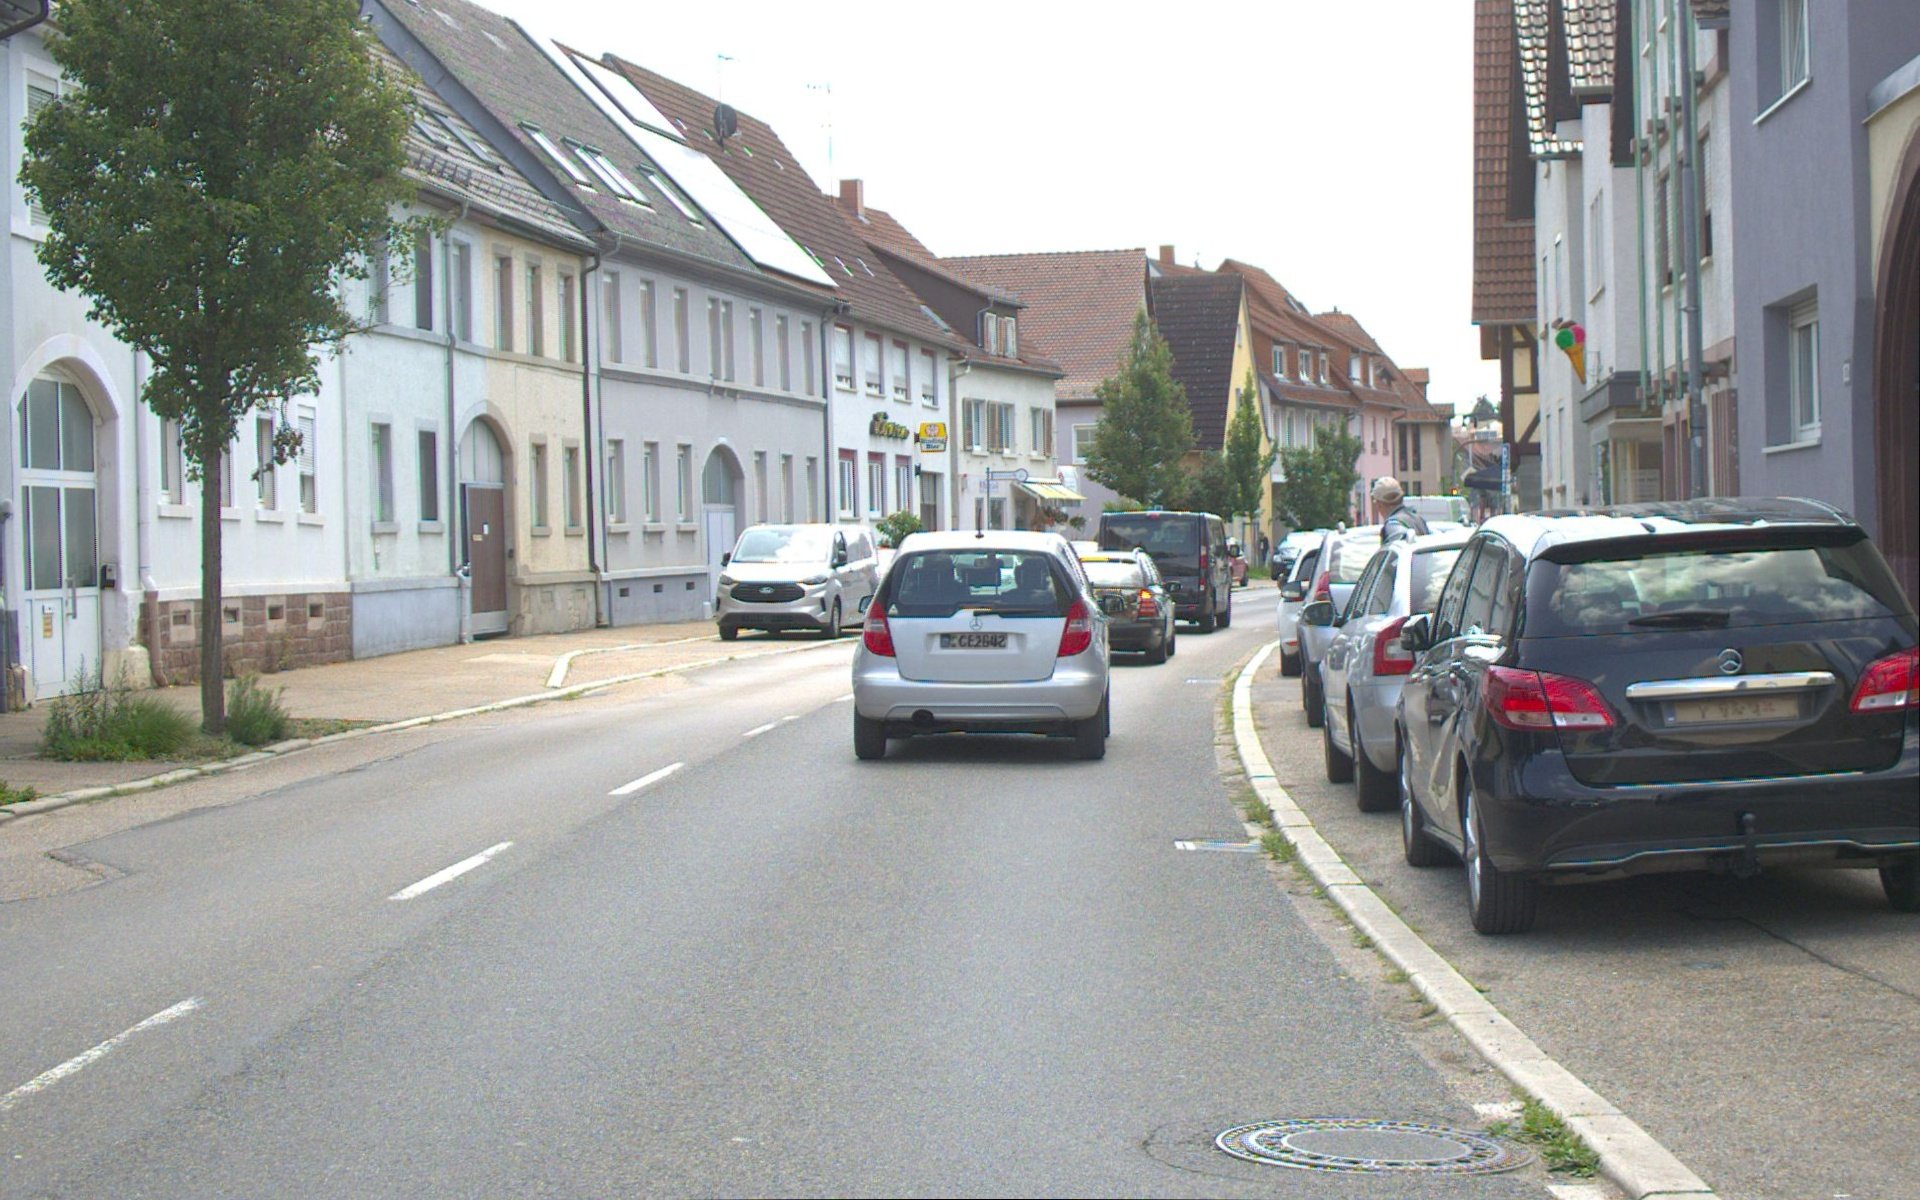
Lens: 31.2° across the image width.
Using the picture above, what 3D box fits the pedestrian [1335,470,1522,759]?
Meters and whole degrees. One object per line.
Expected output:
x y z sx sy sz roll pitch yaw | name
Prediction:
3.099 0.077 22.610 1.095 1.815 1.469 -2 1 11 | pedestrian

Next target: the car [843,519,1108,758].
0.155 0.238 25.143 1.769 1.589 4.000 1 1 2 | car

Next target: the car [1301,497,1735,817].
3.008 0.268 19.370 1.861 1.526 4.196 -3 0 2 | car

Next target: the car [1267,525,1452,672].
4.349 -0.032 37.801 1.861 1.458 3.449 -3 0 5 | car

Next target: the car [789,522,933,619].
-1.851 -0.567 65.524 1.994 1.700 3.999 -3 0 9 | car

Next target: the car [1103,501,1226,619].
3.435 -0.661 57.137 1.769 1.881 4.446 1 1 7 | car

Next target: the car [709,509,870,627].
-2.840 -0.569 58.243 2.092 1.877 3.999 -2 1 6 | car

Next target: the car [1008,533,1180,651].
1.745 -0.119 43.611 1.945 1.402 3.999 1 1 6 | car

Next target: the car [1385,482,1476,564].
13.595 -2.208 99.083 2.237 2.214 3.998 -3 0 12 | car

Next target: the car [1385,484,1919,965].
2.831 0.371 13.736 1.994 1.554 4.000 -3 1 5 | car

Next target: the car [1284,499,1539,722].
3.649 0.057 28.399 1.861 1.620 4.196 -3 0 5 | car

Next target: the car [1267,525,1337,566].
11.328 -1.804 113.834 1.706 1.264 3.998 -3 0 14 | car
